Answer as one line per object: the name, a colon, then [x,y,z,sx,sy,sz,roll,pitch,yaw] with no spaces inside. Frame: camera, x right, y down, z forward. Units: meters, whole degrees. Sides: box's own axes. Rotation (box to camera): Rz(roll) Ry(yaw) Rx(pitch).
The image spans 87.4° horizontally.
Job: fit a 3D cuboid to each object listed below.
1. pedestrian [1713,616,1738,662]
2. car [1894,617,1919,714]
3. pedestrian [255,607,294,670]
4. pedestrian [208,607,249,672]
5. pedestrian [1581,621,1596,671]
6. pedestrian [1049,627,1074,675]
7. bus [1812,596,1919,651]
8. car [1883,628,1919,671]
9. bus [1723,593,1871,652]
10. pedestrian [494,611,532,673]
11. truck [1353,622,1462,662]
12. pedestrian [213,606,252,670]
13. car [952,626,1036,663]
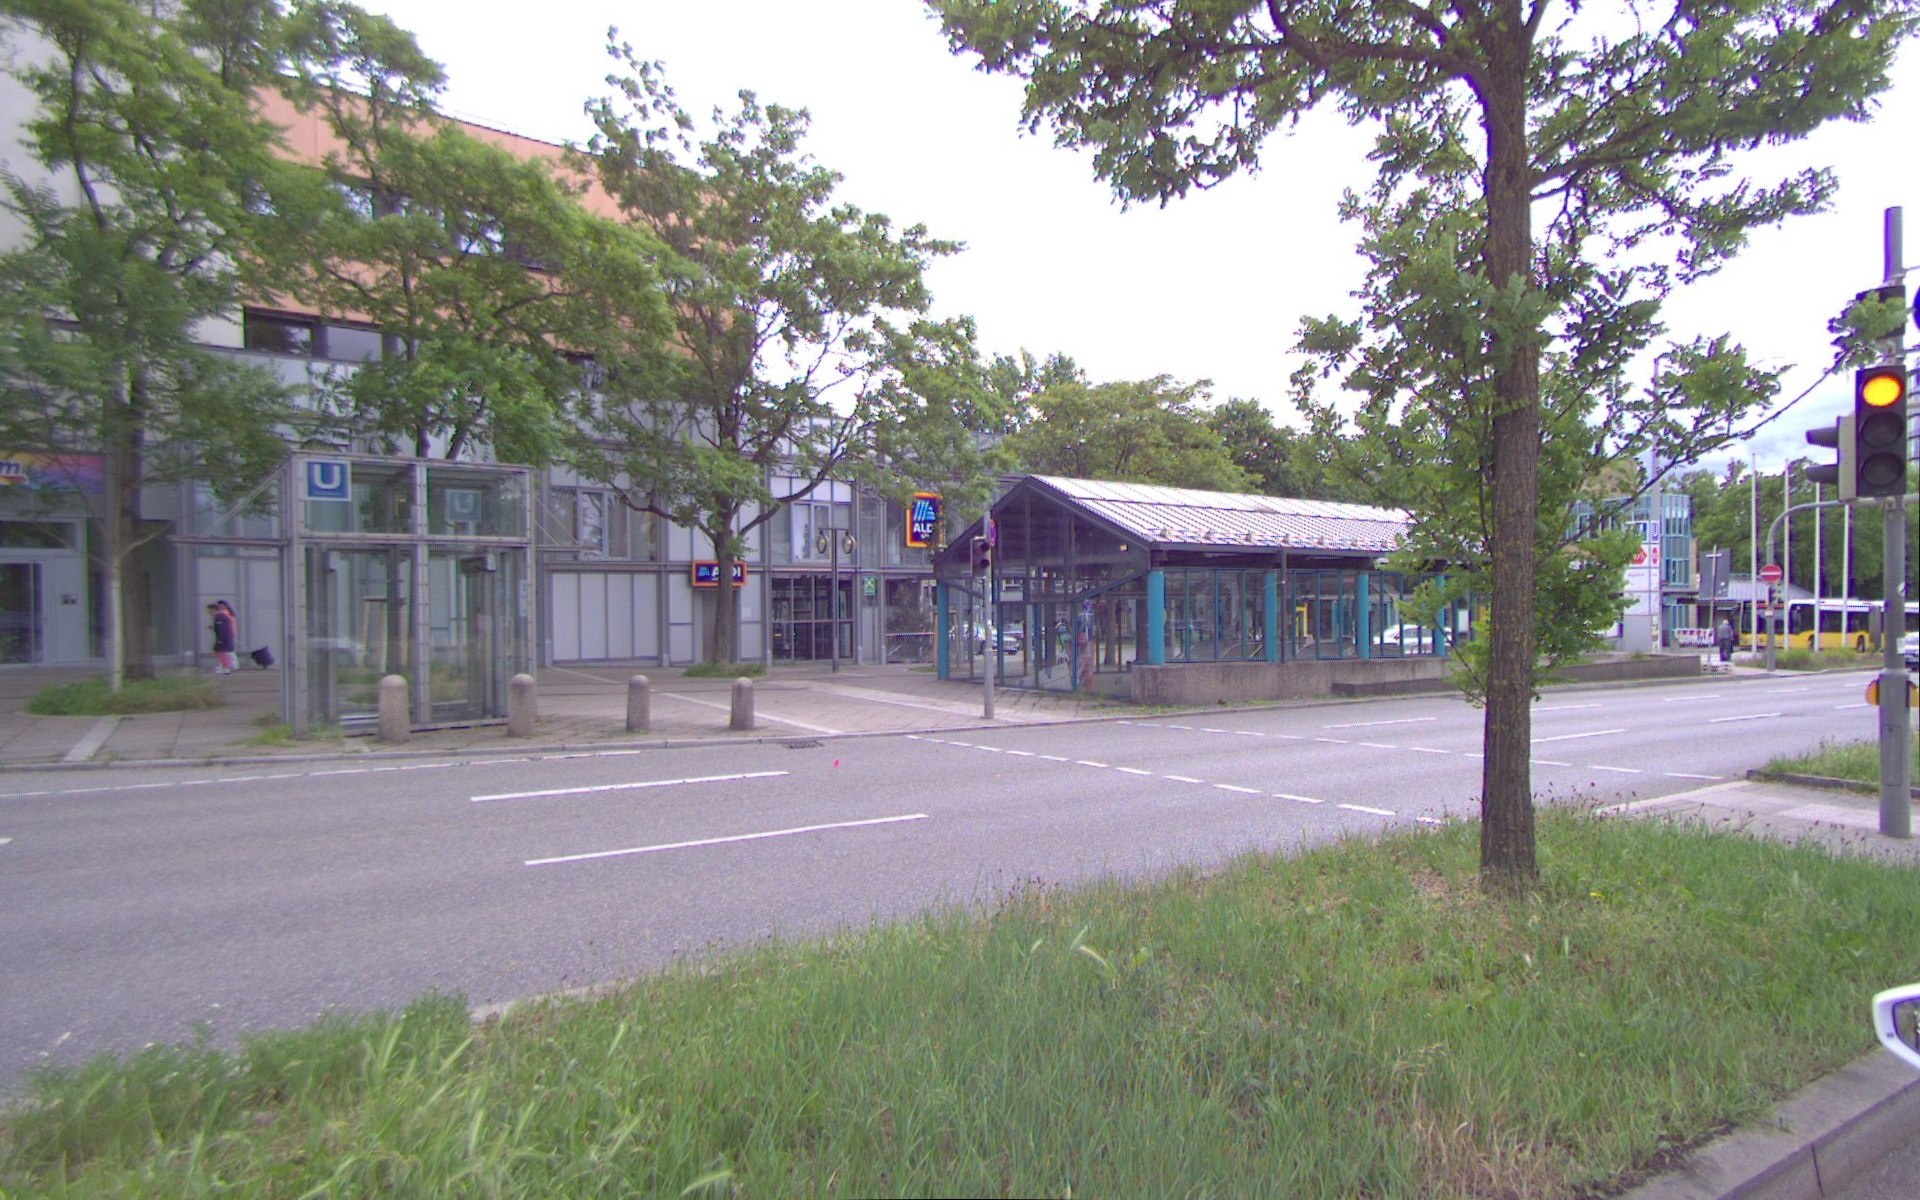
pedestrian: [32.385,1.649,42.497,0.677,1.922,0.658,1,-1,-30]
car: [17.194,1.048,15.400,3.991,1.541,1.841,0,-1,1]
pedestrian: [-15.651,0.871,22.935,0.689,1.393,0.578,1,-1,-37]
pedestrian: [-15.992,0.856,21.961,0.689,1.393,0.578,1,-1,-37]
pedestrian: [20.696,1.511,33.063,0.412,1.612,0.356,0,-1,31]
pedestrian: [3.573,1.780,35.299,0.703,1.677,0.517,1,-1,-37]
bus: [57.923,1.536,63.774,7.771,3.313,2.980,1,-1,-26]
car: [37.553,1.908,39.171,3.316,1.599,1.673,1,-1,-36]
bus: [49.926,1.374,59.833,10.036,3.293,2.980,1,-1,-26]
pedestrian: [-10.950,1.024,24.609,0.748,1.499,0.525,1,-1,-36]
truck: [18.081,1.663,40.676,3.924,1.537,1.999,0,-1,24]
pedestrian: [-16.348,0.848,22.569,0.689,1.393,0.578,1,-1,-37]
car: [1.654,2.187,50.381,1.769,1.710,4.838,1,-1,-33]
